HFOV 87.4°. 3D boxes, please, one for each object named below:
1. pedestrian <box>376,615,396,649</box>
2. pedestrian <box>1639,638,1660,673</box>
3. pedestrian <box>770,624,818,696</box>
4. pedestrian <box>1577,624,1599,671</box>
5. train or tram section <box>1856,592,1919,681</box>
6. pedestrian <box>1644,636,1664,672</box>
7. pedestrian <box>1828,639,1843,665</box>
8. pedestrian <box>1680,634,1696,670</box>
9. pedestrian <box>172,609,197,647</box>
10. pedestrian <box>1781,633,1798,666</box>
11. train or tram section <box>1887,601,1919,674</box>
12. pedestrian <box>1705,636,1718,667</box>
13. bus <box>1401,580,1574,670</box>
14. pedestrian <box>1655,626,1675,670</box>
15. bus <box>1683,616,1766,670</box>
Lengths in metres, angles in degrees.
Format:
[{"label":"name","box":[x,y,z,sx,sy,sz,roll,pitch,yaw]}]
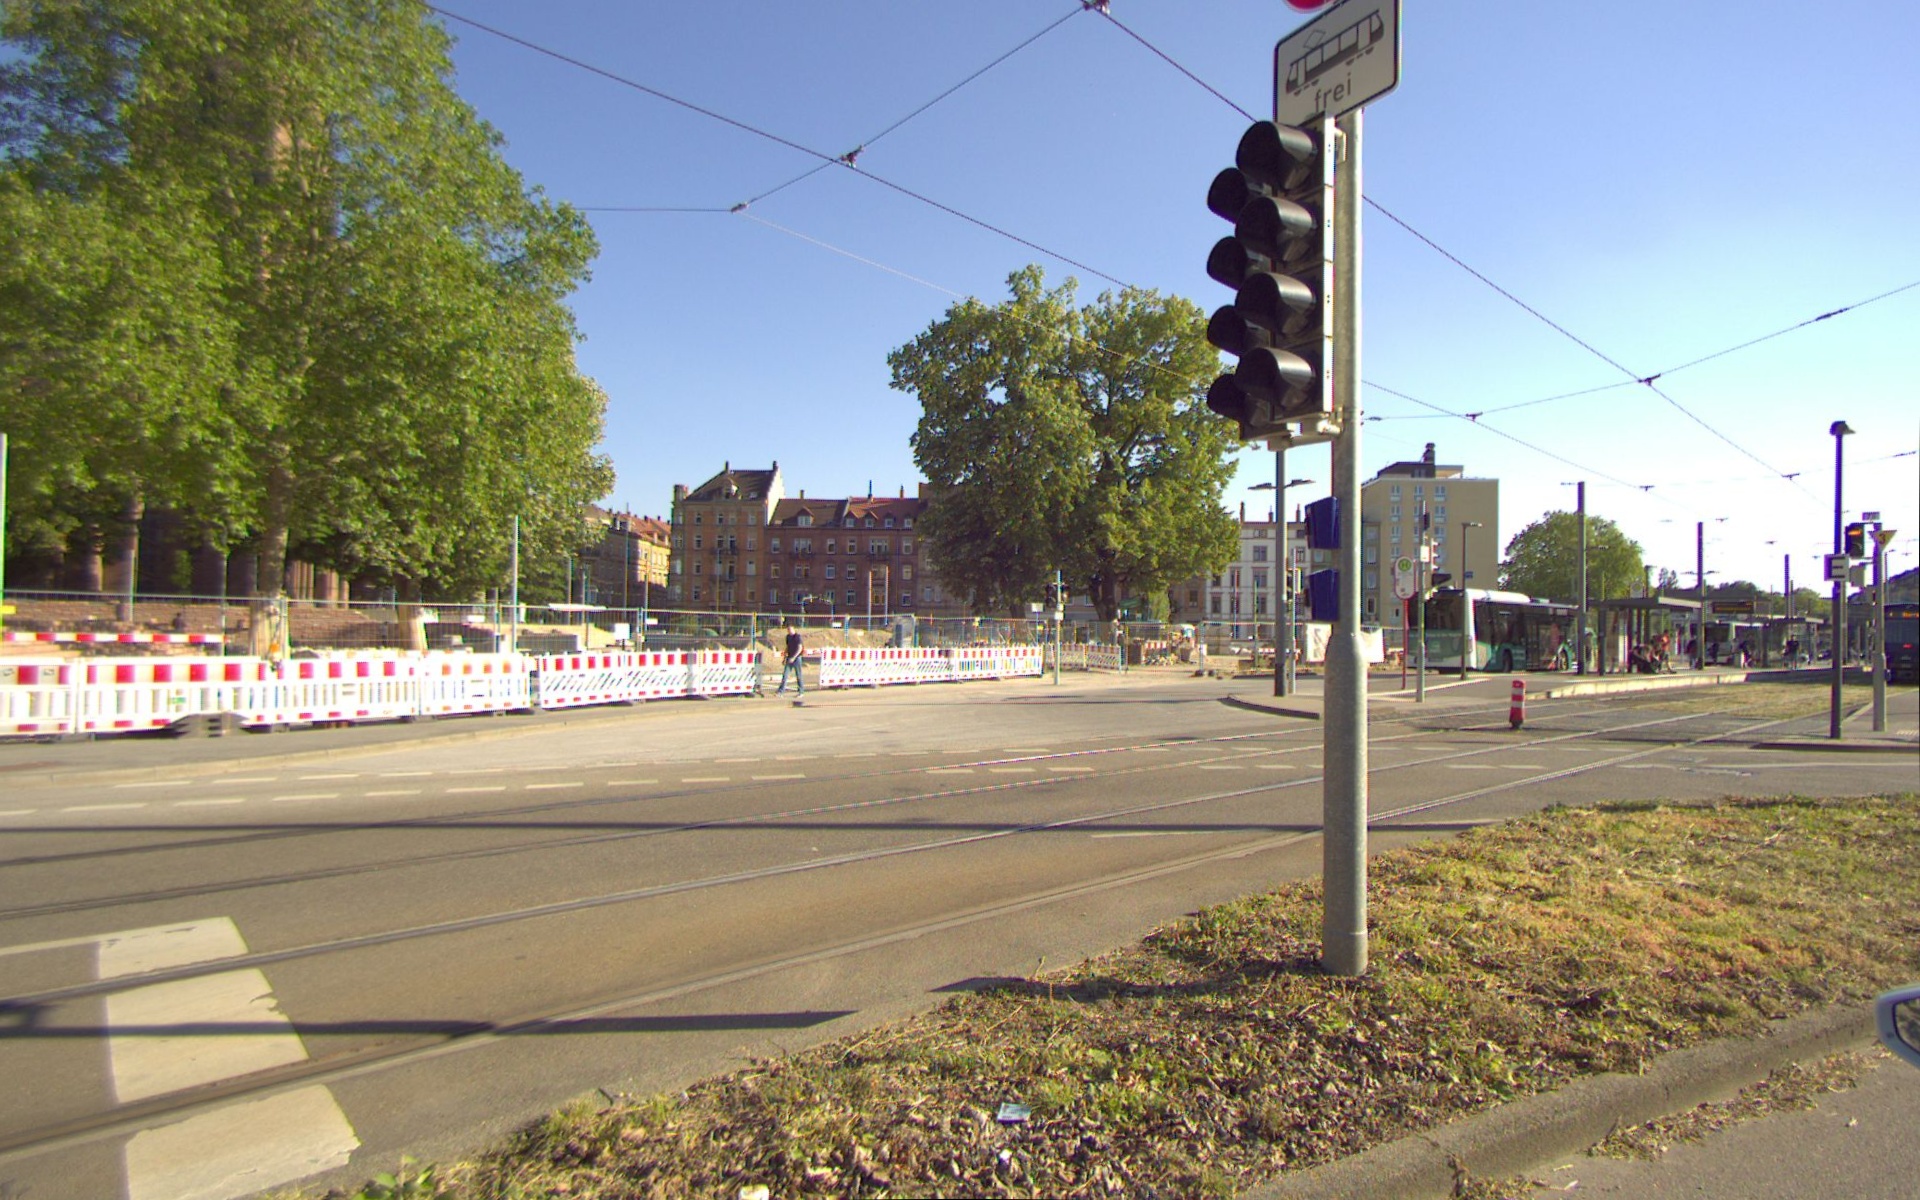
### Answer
[{"label":"pedestrian","box":[-28.591,1.588,50.040,0.751,1.669,0.671,2,-1,-26]},{"label":"pedestrian","box":[26.647,2.139,38.808,0.609,1.358,0.438,-1,-2,43]},{"label":"pedestrian","box":[-4.037,1.471,24.456,0.699,1.719,0.899,-1,-4,33]},{"label":"pedestrian","box":[24.038,1.808,38.427,0.554,1.772,0.534,2,-2,-36]},{"label":"train or tram section","box":[43.669,1.689,45.862,12.111,3.644,2.854,2,0,-43]},{"label":"pedestrian","box":[27.151,2.106,39.288,0.564,1.363,0.636,-1,-2,43]},{"label":"pedestrian","box":[62.734,3.721,71.970,0.634,1.772,0.728,2,-2,-37]},{"label":"pedestrian","box":[36.421,2.582,50.268,0.629,1.772,0.570,0,-2,33]},{"label":"pedestrian","box":[-34.671,1.267,44.889,0.665,1.669,0.635,1,-1,-18]},{"label":"pedestrian","box":[44.963,2.673,54.420,0.629,1.772,0.570,0,-2,33]},{"label":"train or tram section","box":[52.734,2.062,53.899,12.103,3.644,2.986,2,0,-41]},{"label":"pedestrian","box":[43.217,2.942,57.788,0.564,1.772,0.637,-1,-2,41]},{"label":"bus","box":[20.970,0.998,39.574,9.566,3.177,2.631,2,0,-41]},{"label":"pedestrian","box":[28.519,1.941,40.621,0.564,1.772,0.636,-1,-2,43]},{"label":"bus","box":[52.534,2.885,68.800,13.379,3.317,2.693,2,0,-45]}]
